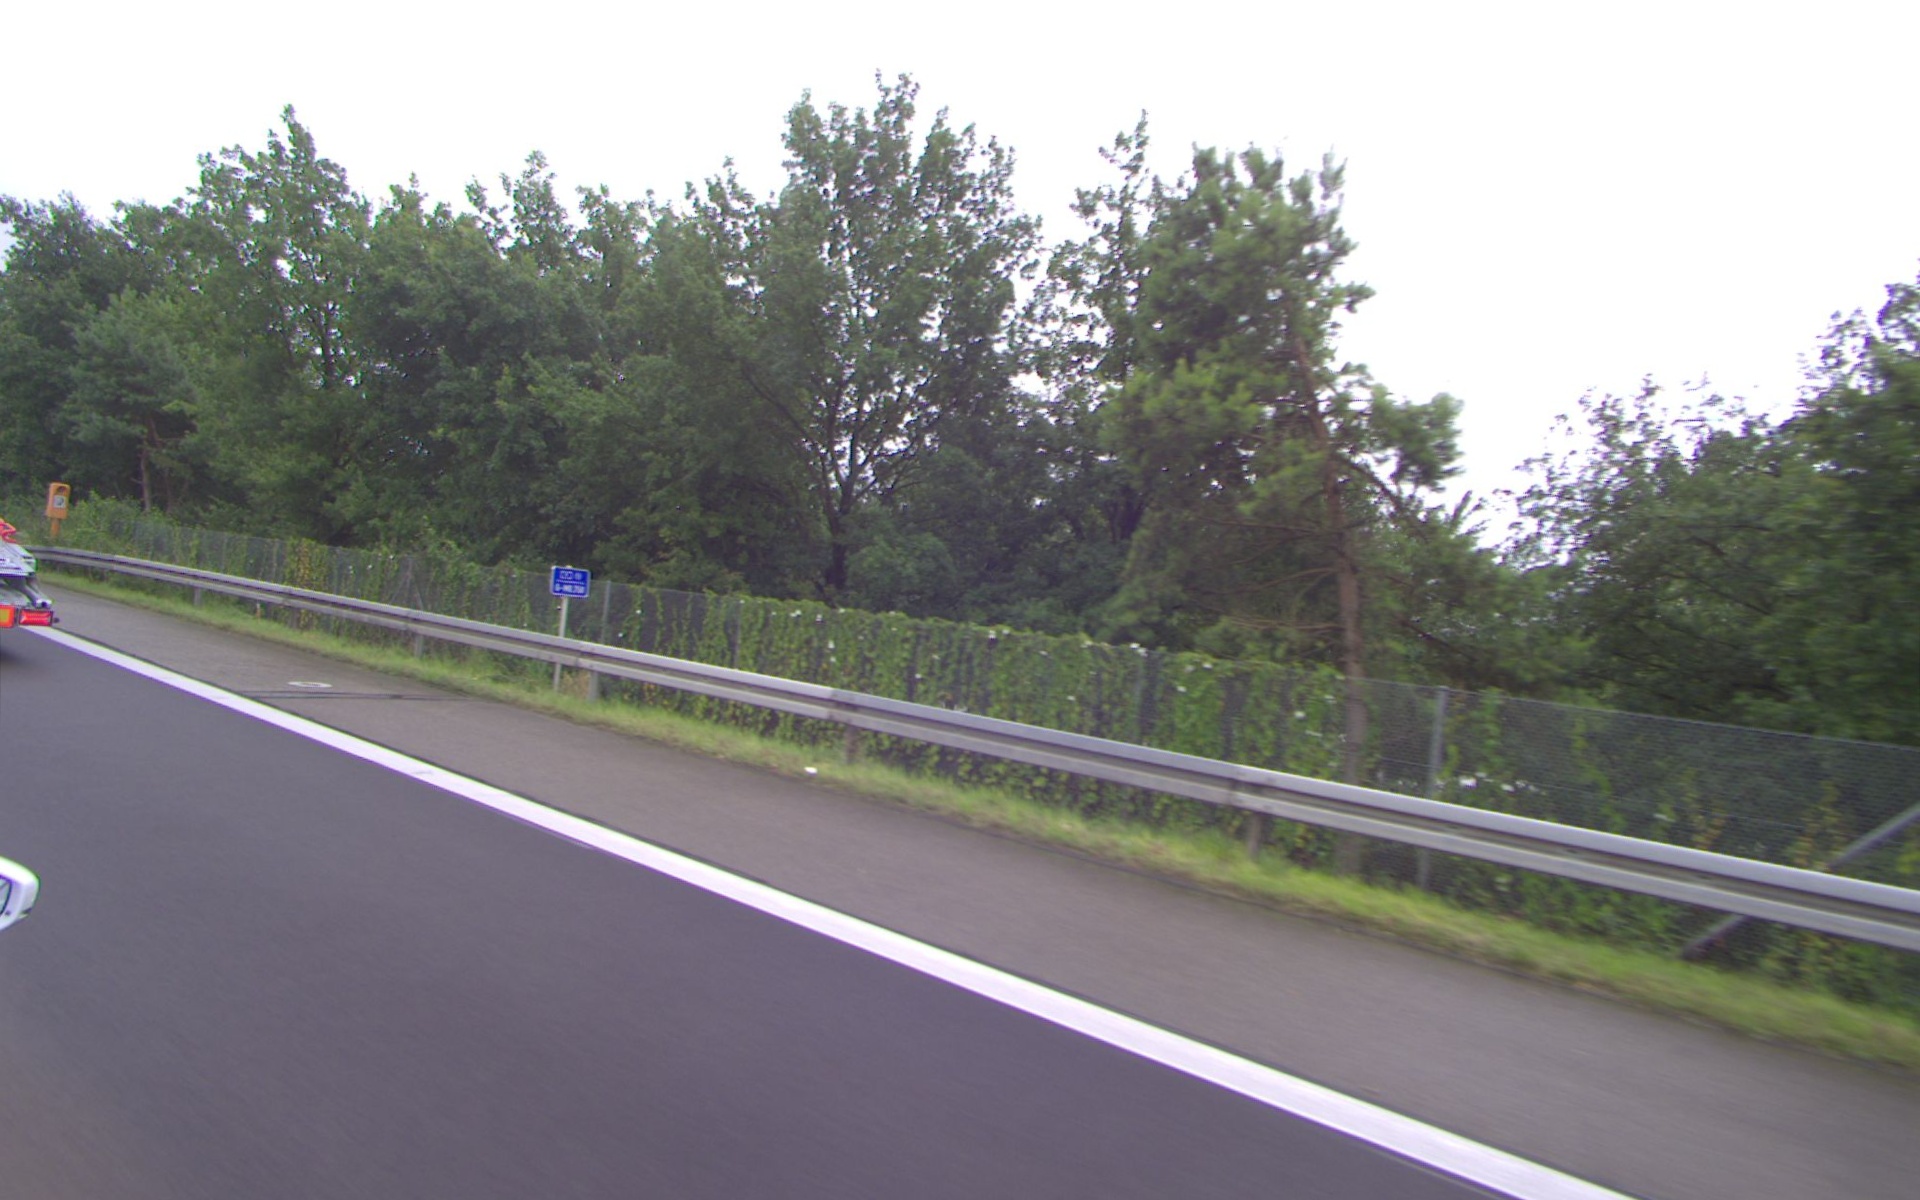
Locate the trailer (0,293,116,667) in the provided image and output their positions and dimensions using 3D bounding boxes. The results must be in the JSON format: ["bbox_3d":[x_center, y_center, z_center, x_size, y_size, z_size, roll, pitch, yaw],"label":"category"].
[{"bbox_3d":[-13.276,-1.626,11.461,10.242,3.323,2.780,7,-1,35],"label":"trailer"}]
